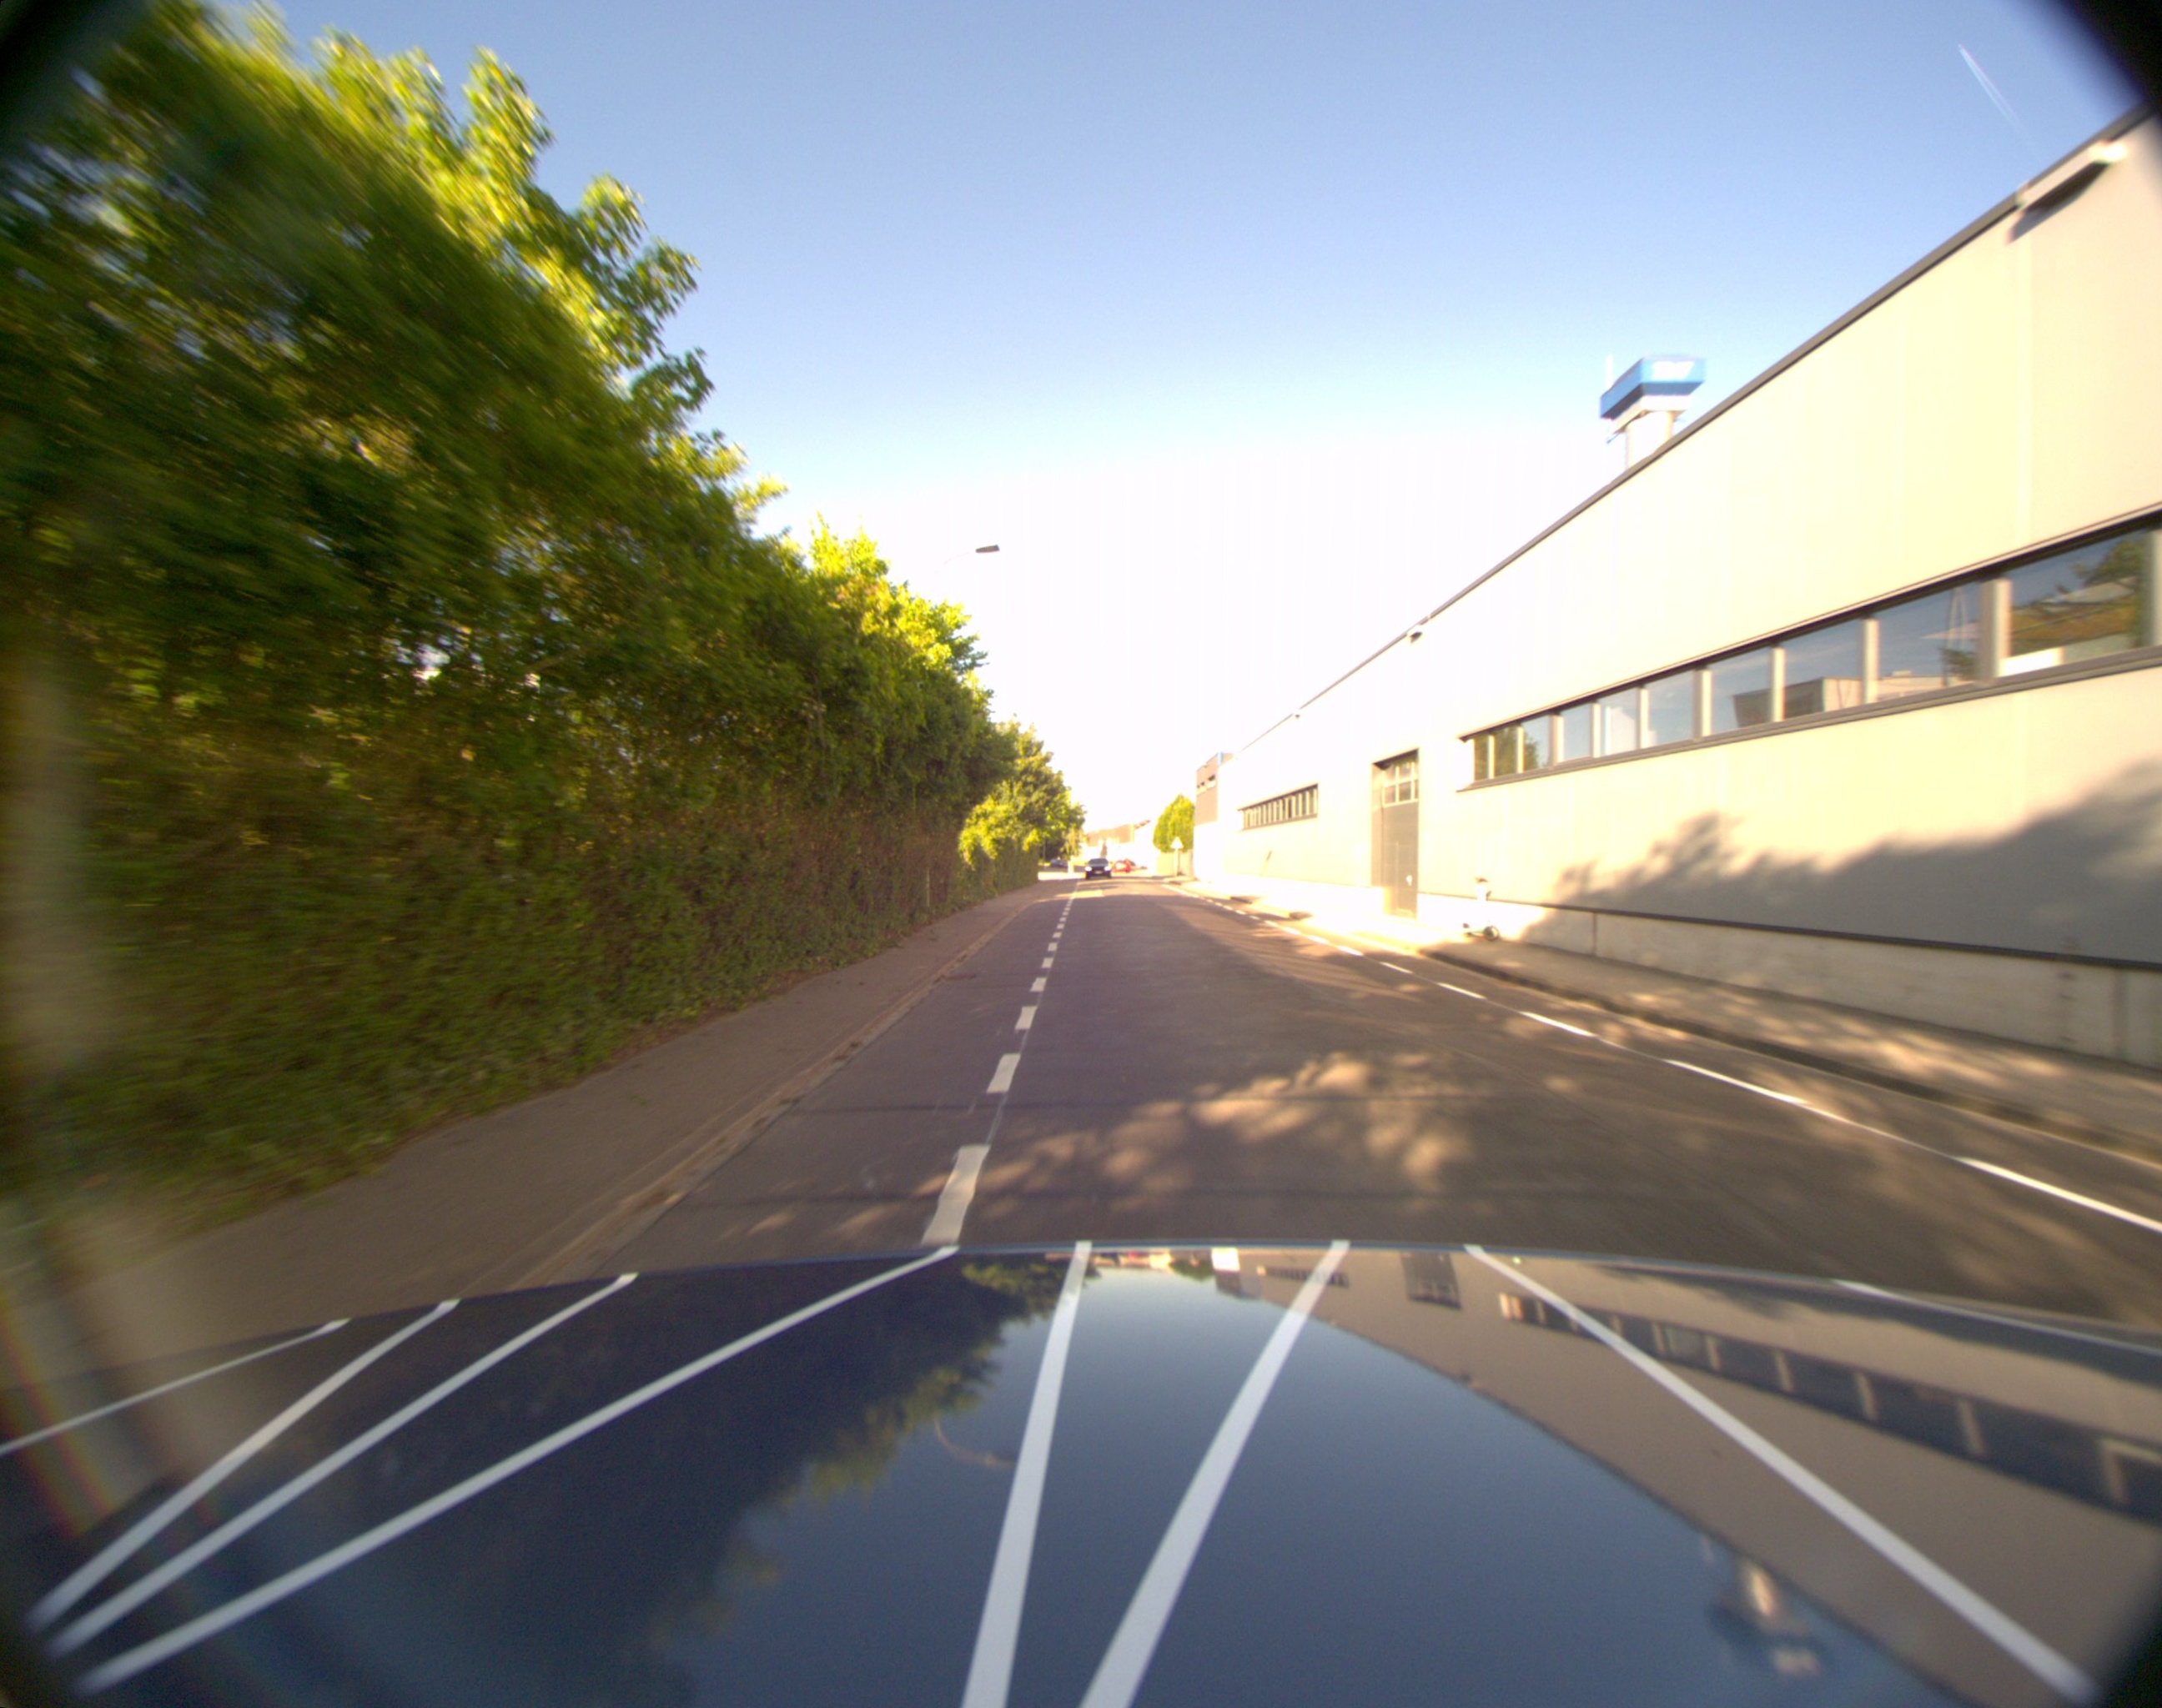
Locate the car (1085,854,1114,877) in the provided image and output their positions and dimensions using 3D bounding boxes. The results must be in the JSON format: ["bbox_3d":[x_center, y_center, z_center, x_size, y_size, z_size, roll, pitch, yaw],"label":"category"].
[{"bbox_3d":[1.443,0.824,58.395,2.036,1.623,4.614,-2,0,3],"label":"car"}]

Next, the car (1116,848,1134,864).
[{"bbox_3d":[4.836,0.249,84.062,1.724,1.530,4.076,3,-1,1],"label":"car"}]

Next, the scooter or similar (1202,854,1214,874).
[{"bbox_3d":[8.211,0.640,49.127,0.508,1.196,1.753,-3,0,1],"label":"scooter or similar"}]

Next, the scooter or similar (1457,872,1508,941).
[{"bbox_3d":[7.684,0.986,14.584,0.417,1.260,1.059,0,0,1],"label":"scooter or similar"}]

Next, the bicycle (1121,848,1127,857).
[{"bbox_3d":[6.492,-0.256,114.542,0.669,1.281,2.172,1,0,-1],"label":"bicycle"}]

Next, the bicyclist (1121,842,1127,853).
[{"bbox_3d":[6.492,-0.990,114.533,0.748,1.619,0.833,1,1,-1],"label":"bicyclist"}]
